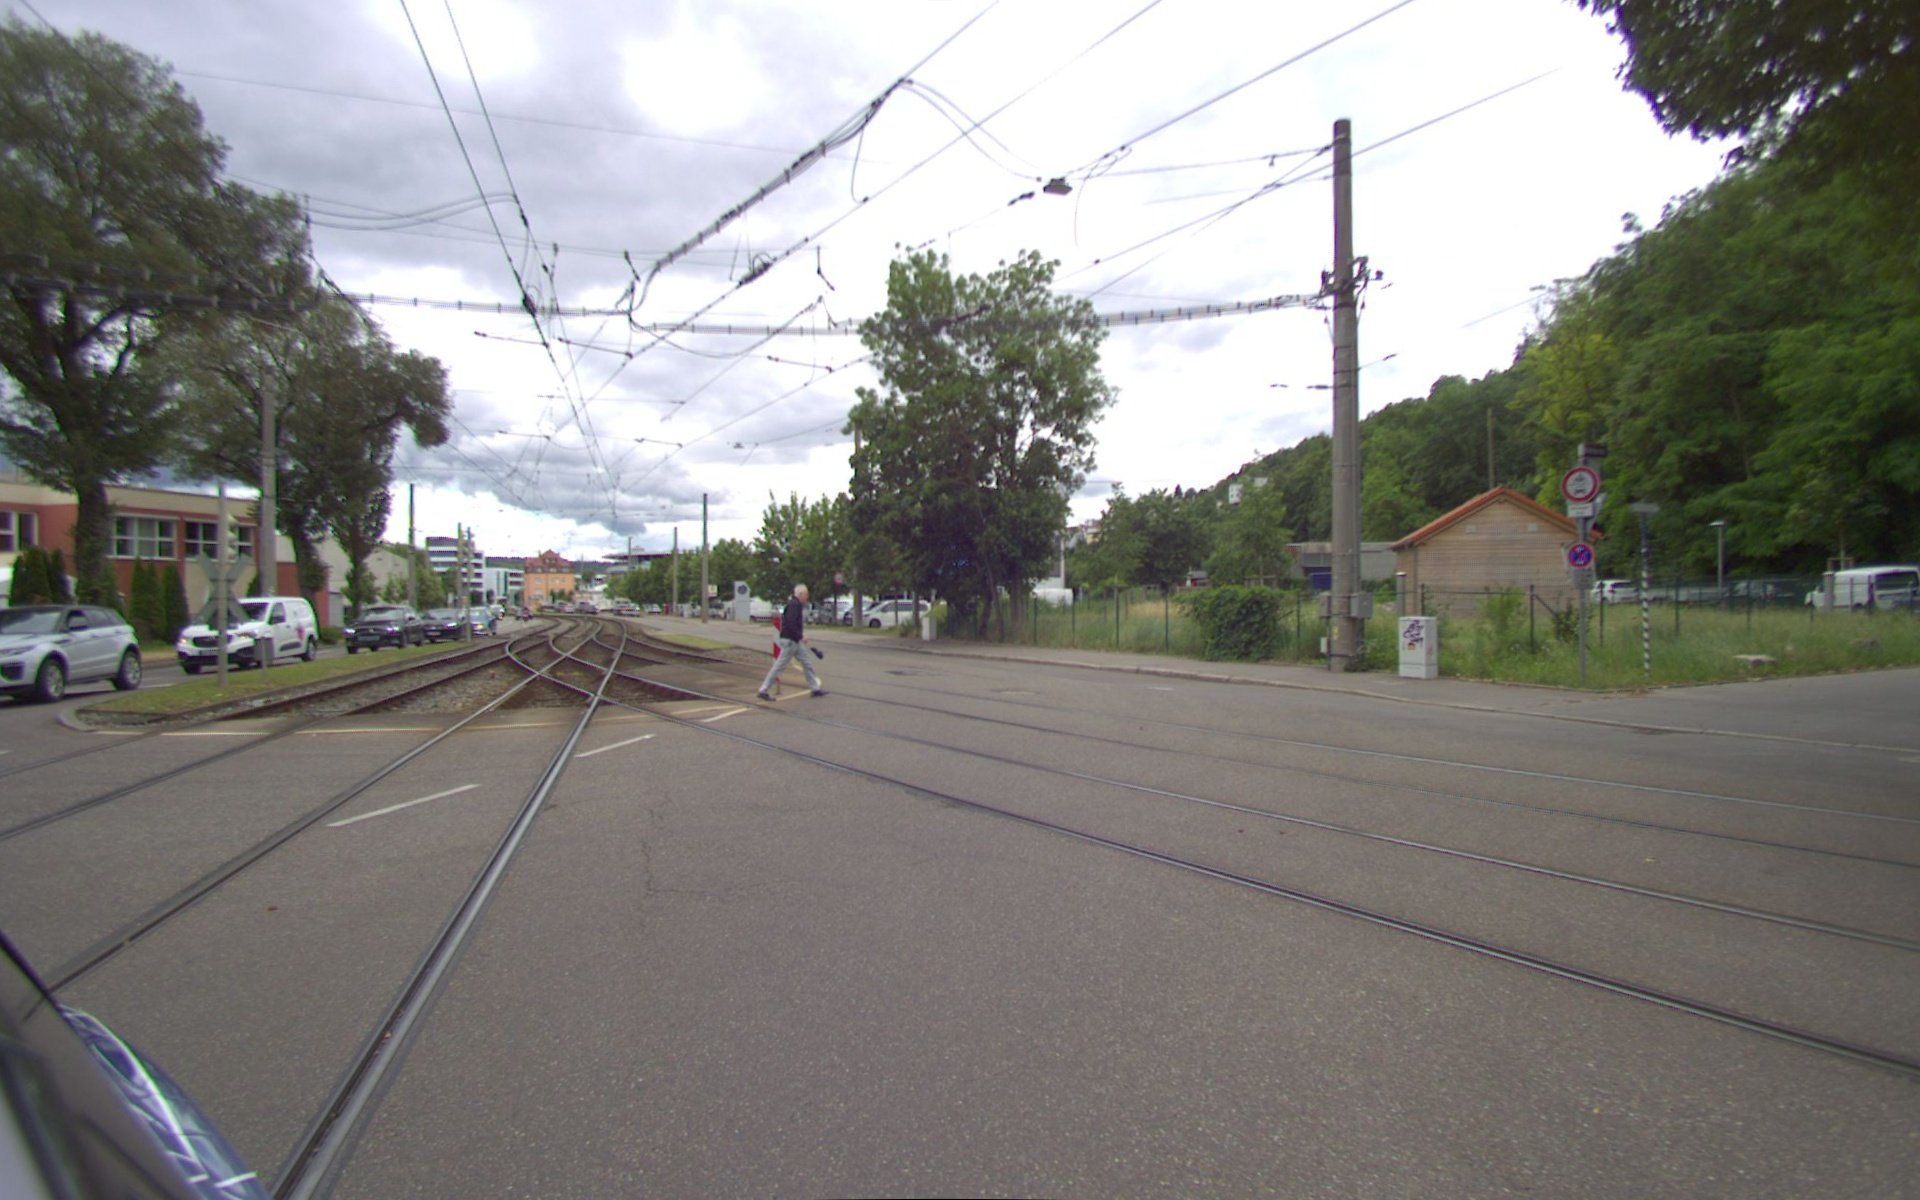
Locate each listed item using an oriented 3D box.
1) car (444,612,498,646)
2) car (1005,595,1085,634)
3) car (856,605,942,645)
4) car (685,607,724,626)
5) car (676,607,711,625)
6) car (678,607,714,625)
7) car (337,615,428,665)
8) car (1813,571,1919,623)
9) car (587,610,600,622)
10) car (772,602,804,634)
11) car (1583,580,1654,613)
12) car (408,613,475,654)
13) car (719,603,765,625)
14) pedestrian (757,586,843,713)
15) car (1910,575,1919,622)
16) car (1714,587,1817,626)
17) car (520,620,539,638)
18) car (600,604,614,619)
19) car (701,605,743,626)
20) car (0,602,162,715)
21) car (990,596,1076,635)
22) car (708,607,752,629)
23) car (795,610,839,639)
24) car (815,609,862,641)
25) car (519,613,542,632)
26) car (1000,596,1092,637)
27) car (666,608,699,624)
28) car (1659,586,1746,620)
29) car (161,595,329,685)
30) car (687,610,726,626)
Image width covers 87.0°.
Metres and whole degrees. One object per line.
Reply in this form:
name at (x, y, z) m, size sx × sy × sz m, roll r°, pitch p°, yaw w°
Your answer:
car at (-25.881, 1.502, 53.695) m, size 1.966 × 1.567 × 4.575 m, roll -2°, pitch 1°, yaw -19°
car at (6.147, 1.048, 73.732) m, size 5.590 × 2.479 × 1.978 m, roll -3°, pitch 0°, yaw 3°
car at (-4.024, 1.638, 66.910) m, size 5.182 × 2.284 × 2.006 m, roll -4°, pitch 1°, yaw -19°
car at (-34.322, 2.212, 135.962) m, size 4.560 × 2.225 × 2.116 m, roll -4°, pitch 1°, yaw -24°
car at (-38.860, 2.341, 147.670) m, size 4.560 × 2.225 × 2.116 m, roll -4°, pitch 1°, yaw -24°
car at (-37.909, 2.312, 145.400) m, size 4.560 × 2.225 × 2.116 m, roll -4°, pitch 1°, yaw -24°
car at (-20.836, 1.384, 36.688) m, size 1.966 × 1.567 × 4.575 m, roll -2°, pitch 1°, yaw -19°
car at (31.876, -0.136, 35.072) m, size 1.889 × 1.625 × 3.669 m, roll -3°, pitch 1°, yaw 11°
car at (-59.201, 2.559, 163.573) m, size 1.874 × 1.730 × 4.149 m, roll -2°, pitch 2°, yaw -18°
car at (-17.408, 1.750, 102.320) m, size 2.282 × 3.033 × 6.177 m, roll -3°, pitch 1°, yaw -17°
car at (35.695, -0.235, 54.945) m, size 1.737 × 1.625 × 3.672 m, roll -3°, pitch 1°, yaw 8°
car at (-23.110, 1.449, 45.285) m, size 1.966 × 1.567 × 4.575 m, roll -2°, pitch 1°, yaw -19°
car at (-24.437, 1.578, 113.361) m, size 4.560 × 2.225 × 2.116 m, roll -4°, pitch 1°, yaw -24°
pedestrian at (-2.397, 0.717, 15.105) m, size 1.102 × 1.773 × 0.816 m, roll -3°, pitch 0°, yaw -15°
car at (30.572, -0.053, 30.116) m, size 1.683 × 1.434 × 3.492 m, roll -3°, pitch 1°, yaw 11°
car at (32.942, 0.230, 41.507) m, size 1.739 × 1.387 × 3.669 m, roll -3°, pitch 1°, yaw 11°
car at (-49.388, 3.311, 116.190) m, size 1.838 × 1.763 × 4.013 m, roll -3°, pitch 1°, yaw -21°
car at (-72.714, 2.401, 208.525) m, size 2.370 × 2.970 × 4.764 m, roll -3°, pitch 1°, yaw -19°
car at (-28.911, 1.875, 122.840) m, size 4.560 × 2.225 × 2.116 m, roll -4°, pitch 1°, yaw -24°
car at (-15.766, 0.979, 17.173) m, size 1.966 × 1.703 × 4.280 m, roll -1°, pitch -2°, yaw -15°
car at (5.104, 1.061, 70.411) m, size 5.781 × 2.284 × 2.050 m, roll -3°, pitch 1°, yaw 6°
car at (-26.833, 2.064, 117.979) m, size 4.560 × 2.225 × 2.116 m, roll -4°, pitch 1°, yaw -24°
car at (-11.580, 1.931, 81.555) m, size 2.105 × 2.131 × 4.792 m, roll -4°, pitch 1°, yaw -24°
car at (-9.158, 1.839, 75.726) m, size 2.105 × 2.131 × 4.792 m, roll -3°, pitch 1°, yaw -23°
car at (-41.495, 2.150, 97.784) m, size 1.838 × 1.763 × 4.013 m, roll -3°, pitch 1°, yaw -21°
car at (5.654, 1.073, 66.663) m, size 5.791 × 2.284 × 2.050 m, roll -3°, pitch 1°, yaw 6°
car at (-43.057, 2.480, 156.819) m, size 4.560 × 2.225 × 2.116 m, roll -4°, pitch 1°, yaw -24°
car at (34.066, 0.122, 46.568) m, size 1.739 × 1.387 × 3.669 m, roll -3°, pitch 1°, yaw 11°
car at (-18.394, 0.927, 26.352) m, size 1.966 × 2.017 × 5.049 m, roll -3°, pitch 1°, yaw -16°
car at (-33.460, 2.374, 133.705) m, size 4.560 × 1.854 × 2.116 m, roll -4°, pitch 1°, yaw -24°
